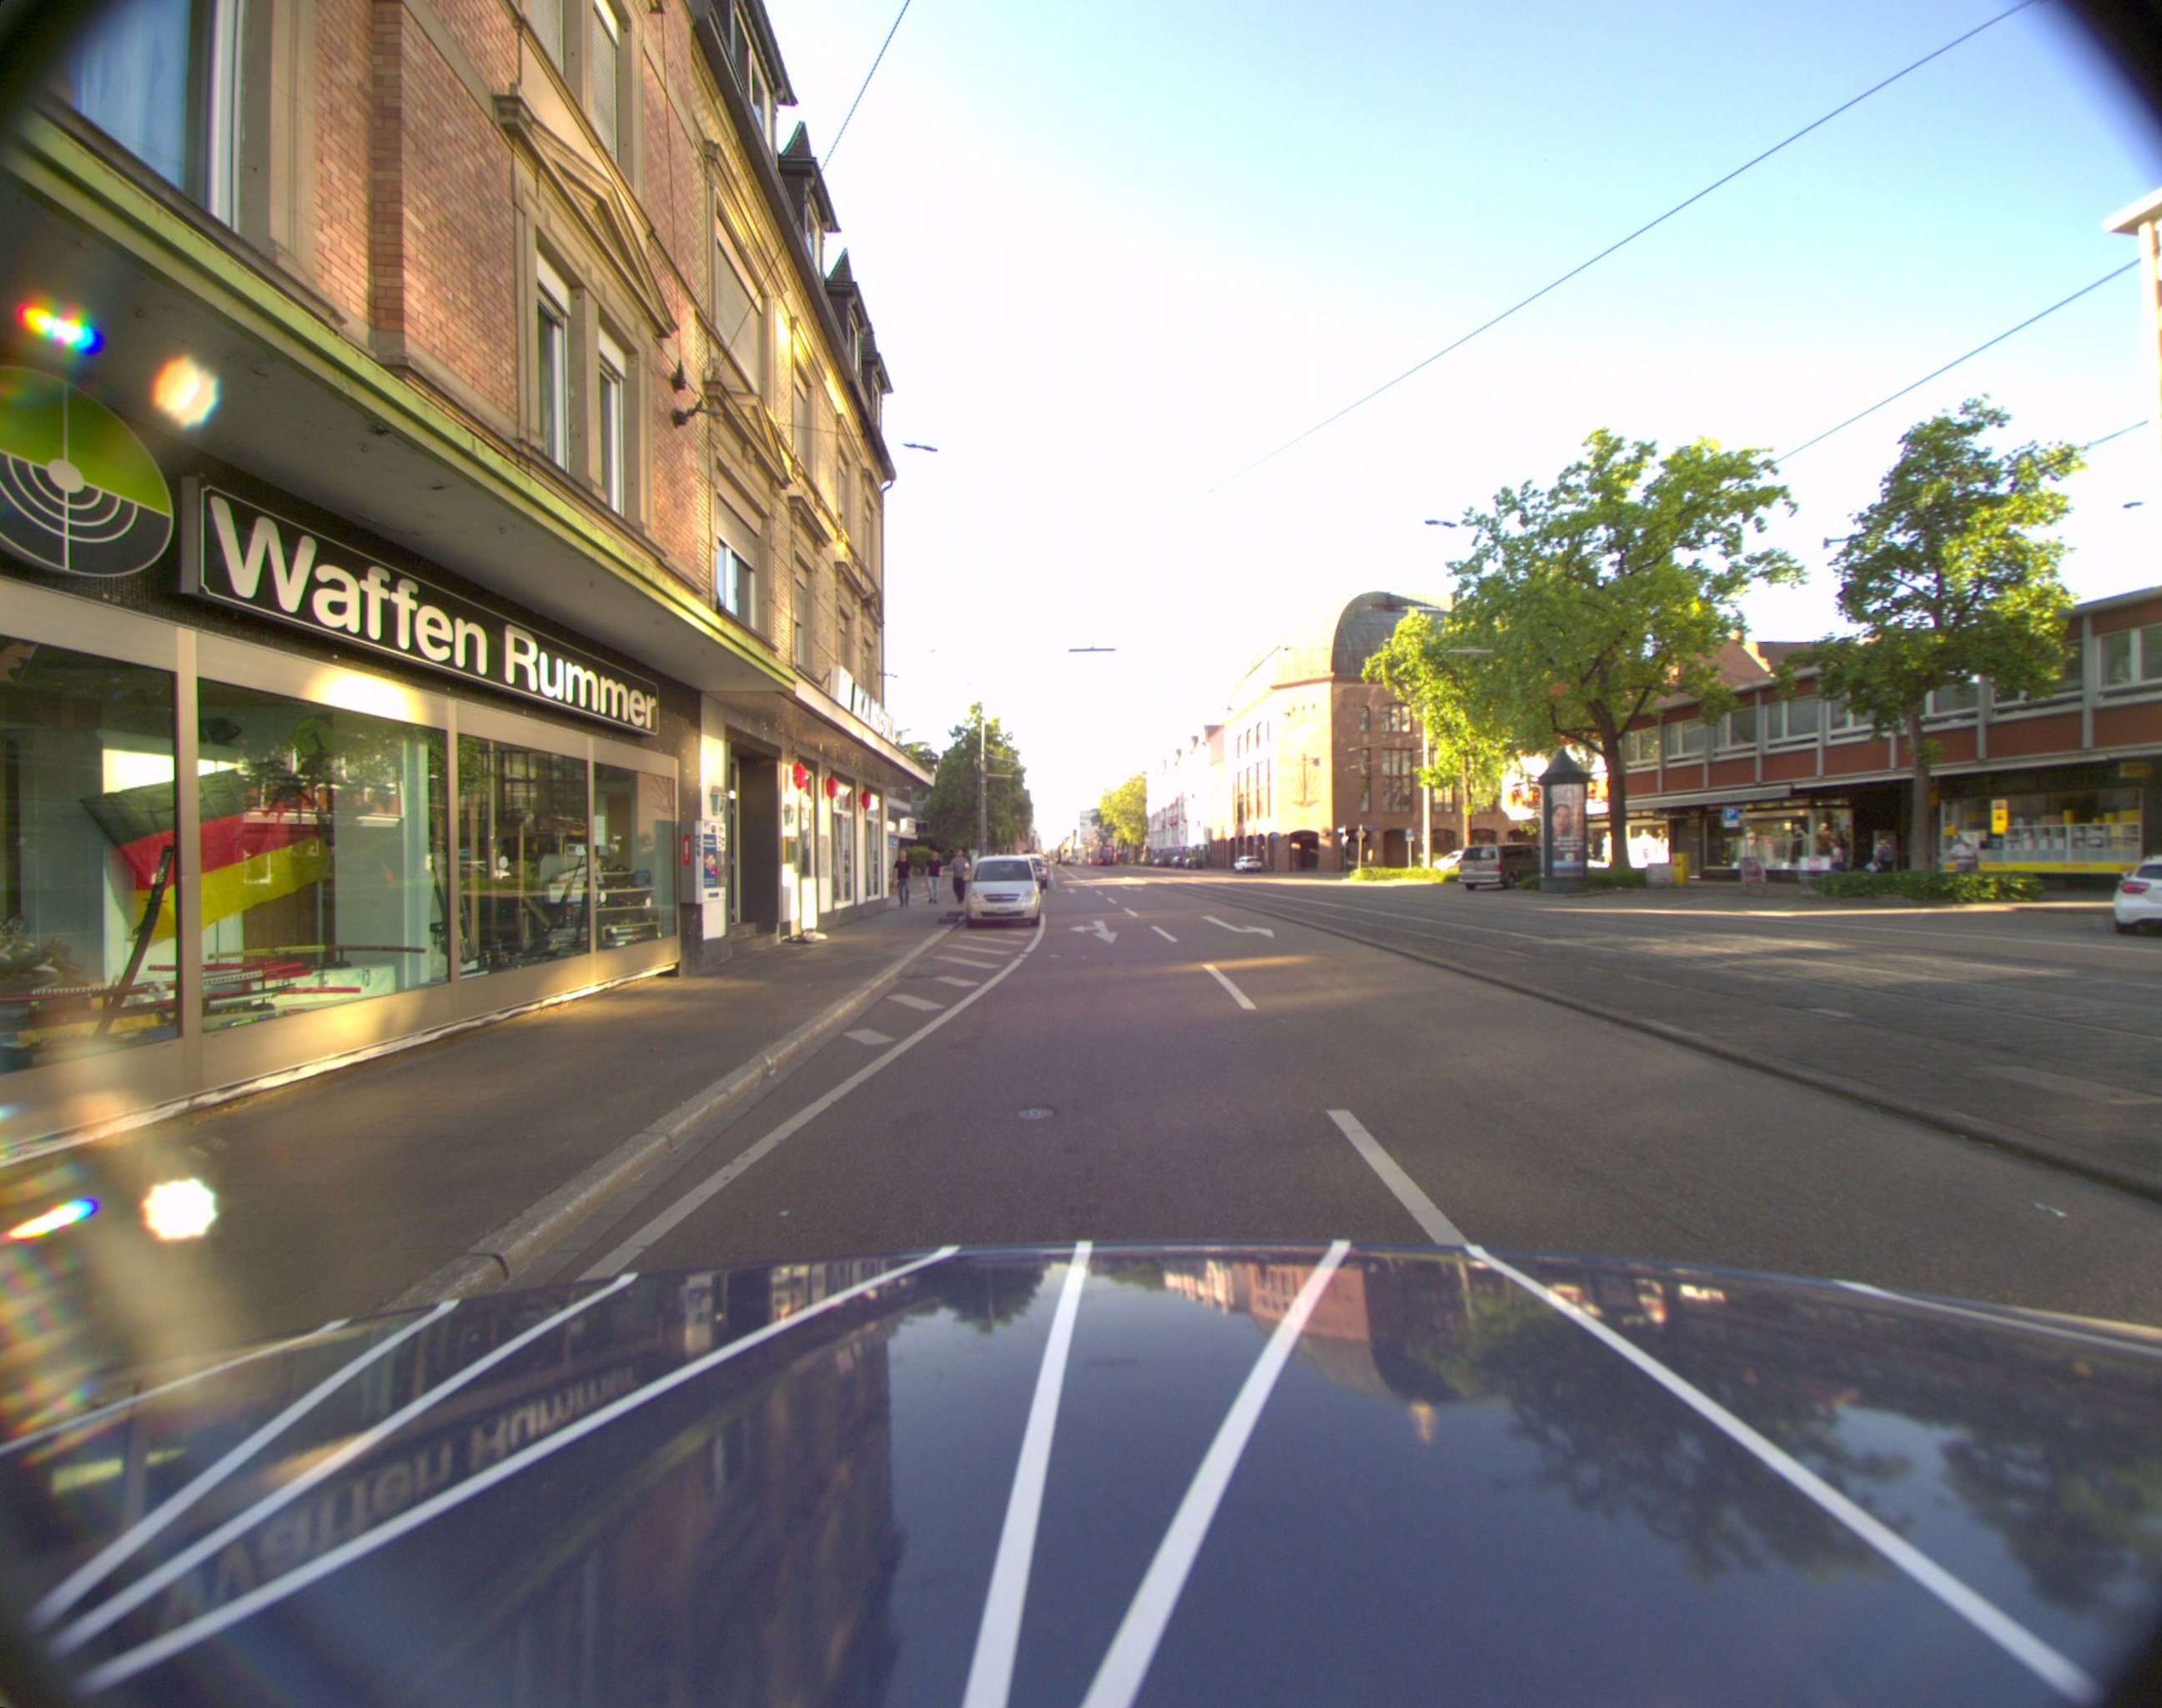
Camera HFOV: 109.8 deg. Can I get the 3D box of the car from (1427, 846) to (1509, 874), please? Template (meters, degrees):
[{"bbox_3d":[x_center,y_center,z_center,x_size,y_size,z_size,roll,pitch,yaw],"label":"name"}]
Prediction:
[{"bbox_3d":[28.540,0.419,56.112,4.993,1.957,2.130,-1,3,-4],"label":"car"}]

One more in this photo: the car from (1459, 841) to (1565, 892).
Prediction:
[{"bbox_3d":[18.638,0.493,32.794,5.130,1.918,1.849,-3,2,-34],"label":"car"}]

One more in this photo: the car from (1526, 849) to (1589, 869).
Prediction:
[{"bbox_3d":[38.040,0.375,60.750,1.856,1.564,4.528,-1,0,-7],"label":"car"}]

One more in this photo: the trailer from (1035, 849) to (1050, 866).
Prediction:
[{"bbox_3d":[-5.283,0.461,104.739,1.784,2.136,5.315,-2,0,0],"label":"trailer"}]

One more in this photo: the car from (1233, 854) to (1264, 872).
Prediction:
[{"bbox_3d":[15.511,0.809,70.713,1.600,1.581,4.276,-3,0,-4],"label":"car"}]

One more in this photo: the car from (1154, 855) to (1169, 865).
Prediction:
[{"bbox_3d":[13.050,0.991,123.194,1.829,1.500,4.559,-2,0,-2],"label":"car"}]

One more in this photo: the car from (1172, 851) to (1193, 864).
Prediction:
[{"bbox_3d":[13.918,0.483,104.325,1.964,1.690,4.559,-2,0,-4],"label":"car"}]

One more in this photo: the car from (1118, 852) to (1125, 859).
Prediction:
[{"bbox_3d":[10.942,0.302,205.629,1.861,1.914,3.999,0,0,-1],"label":"car"}]

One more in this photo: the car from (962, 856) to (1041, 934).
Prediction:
[{"bbox_3d":[-1.830,0.888,18.208,1.642,1.605,3.943,-1,0,-4],"label":"car"}]

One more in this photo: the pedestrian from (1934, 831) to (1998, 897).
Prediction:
[{"bbox_3d":[25.748,0.294,22.130,0.917,1.867,0.902,0,1,26],"label":"pedestrian"}]

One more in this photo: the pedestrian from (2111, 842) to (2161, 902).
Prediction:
[{"bbox_3d":[27.347,0.447,19.471,0.689,1.488,0.900,-1,0,-5],"label":"pedestrian"}]

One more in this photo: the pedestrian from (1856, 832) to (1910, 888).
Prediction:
[{"bbox_3d":[27.338,0.215,25.912,0.919,1.867,0.900,-1,1,-5],"label":"pedestrian"}]

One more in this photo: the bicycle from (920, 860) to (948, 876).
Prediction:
[{"bbox_3d":[-10.389,0.982,53.645,1.886,1.090,0.469,0,1,-4],"label":"bicycle"}]

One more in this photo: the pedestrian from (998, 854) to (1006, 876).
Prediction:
[{"bbox_3d":[-6.069,0.826,58.352,0.494,1.703,0.437,2,1,-3],"label":"pedestrian"}]

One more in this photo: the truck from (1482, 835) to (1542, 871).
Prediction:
[{"bbox_3d":[34.213,-0.099,60.511,1.856,2.747,4.528,-1,0,-7],"label":"truck"}]

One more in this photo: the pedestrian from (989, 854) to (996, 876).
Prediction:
[{"bbox_3d":[-6.800,0.849,58.388,0.494,1.703,0.437,2,1,-3],"label":"pedestrian"}]

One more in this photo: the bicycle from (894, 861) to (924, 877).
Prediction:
[{"bbox_3d":[-11.928,1.022,52.691,2.020,1.089,0.637,1,0,-9],"label":"bicycle"}]

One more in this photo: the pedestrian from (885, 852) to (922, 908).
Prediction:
[{"bbox_3d":[-5.535,0.797,23.690,0.903,1.703,1.032,2,0,-3],"label":"pedestrian"}]

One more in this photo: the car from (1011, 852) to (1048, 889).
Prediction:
[{"bbox_3d":[-2.695,0.823,40.553,1.825,1.747,4.473,-2,1,-3],"label":"car"}]

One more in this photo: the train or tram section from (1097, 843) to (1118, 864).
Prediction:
[{"bbox_3d":[4.491,-0.191,133.324,2.683,3.530,12.837,0,0,-3],"label":"train or tram section"}]

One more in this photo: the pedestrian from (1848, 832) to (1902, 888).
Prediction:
[{"bbox_3d":[28.027,0.196,26.836,0.996,1.937,0.900,-1,1,-5],"label":"pedestrian"}]

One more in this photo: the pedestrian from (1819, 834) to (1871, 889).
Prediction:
[{"bbox_3d":[26.530,0.260,26.403,0.919,1.867,0.900,-1,1,-5],"label":"pedestrian"}]

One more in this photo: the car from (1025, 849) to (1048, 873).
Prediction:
[{"bbox_3d":[-4.056,0.624,69.906,1.882,2.009,4.904,-2,0,-2],"label":"car"}]

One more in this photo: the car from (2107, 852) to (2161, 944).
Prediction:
[{"bbox_3d":[20.627,0.753,14.026,4.276,1.421,1.762,-3,1,-33],"label":"car"}]

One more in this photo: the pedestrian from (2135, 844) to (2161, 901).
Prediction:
[{"bbox_3d":[28.051,0.458,19.520,0.689,1.462,0.900,-1,0,-5],"label":"pedestrian"}]

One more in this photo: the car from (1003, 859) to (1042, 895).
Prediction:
[{"bbox_3d":[-2.689,1.029,35.415,1.642,1.484,3.793,-3,0,-4],"label":"car"}]

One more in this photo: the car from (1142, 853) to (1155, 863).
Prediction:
[{"bbox_3d":[12.304,0.807,139.048,1.931,1.787,4.383,-1,0,1],"label":"car"}]

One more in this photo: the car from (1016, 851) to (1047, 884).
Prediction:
[{"bbox_3d":[-2.903,0.762,45.246,1.680,1.797,4.247,-2,0,-3],"label":"car"}]

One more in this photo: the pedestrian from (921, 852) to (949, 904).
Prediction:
[{"bbox_3d":[-4.986,0.815,25.977,0.813,1.746,1.032,0,1,-3],"label":"pedestrian"}]

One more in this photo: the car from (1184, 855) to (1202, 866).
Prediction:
[{"bbox_3d":[14.344,0.838,97.486,1.646,1.392,3.682,-2,0,-2],"label":"car"}]

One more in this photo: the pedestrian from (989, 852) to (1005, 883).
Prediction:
[{"bbox_3d":[-4.778,0.780,43.194,0.789,1.727,0.945,-1,1,-3],"label":"pedestrian"}]

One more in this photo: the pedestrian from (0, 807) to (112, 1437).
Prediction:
[{"bbox_3d":[-3.511,0.755,1.846,0.949,1.782,1.054,0,0,-3],"label":"pedestrian"}]

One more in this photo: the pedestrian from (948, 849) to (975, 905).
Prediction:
[{"bbox_3d":[-4.119,0.769,26.191,0.796,1.888,1.032,0,1,-3],"label":"pedestrian"}]
